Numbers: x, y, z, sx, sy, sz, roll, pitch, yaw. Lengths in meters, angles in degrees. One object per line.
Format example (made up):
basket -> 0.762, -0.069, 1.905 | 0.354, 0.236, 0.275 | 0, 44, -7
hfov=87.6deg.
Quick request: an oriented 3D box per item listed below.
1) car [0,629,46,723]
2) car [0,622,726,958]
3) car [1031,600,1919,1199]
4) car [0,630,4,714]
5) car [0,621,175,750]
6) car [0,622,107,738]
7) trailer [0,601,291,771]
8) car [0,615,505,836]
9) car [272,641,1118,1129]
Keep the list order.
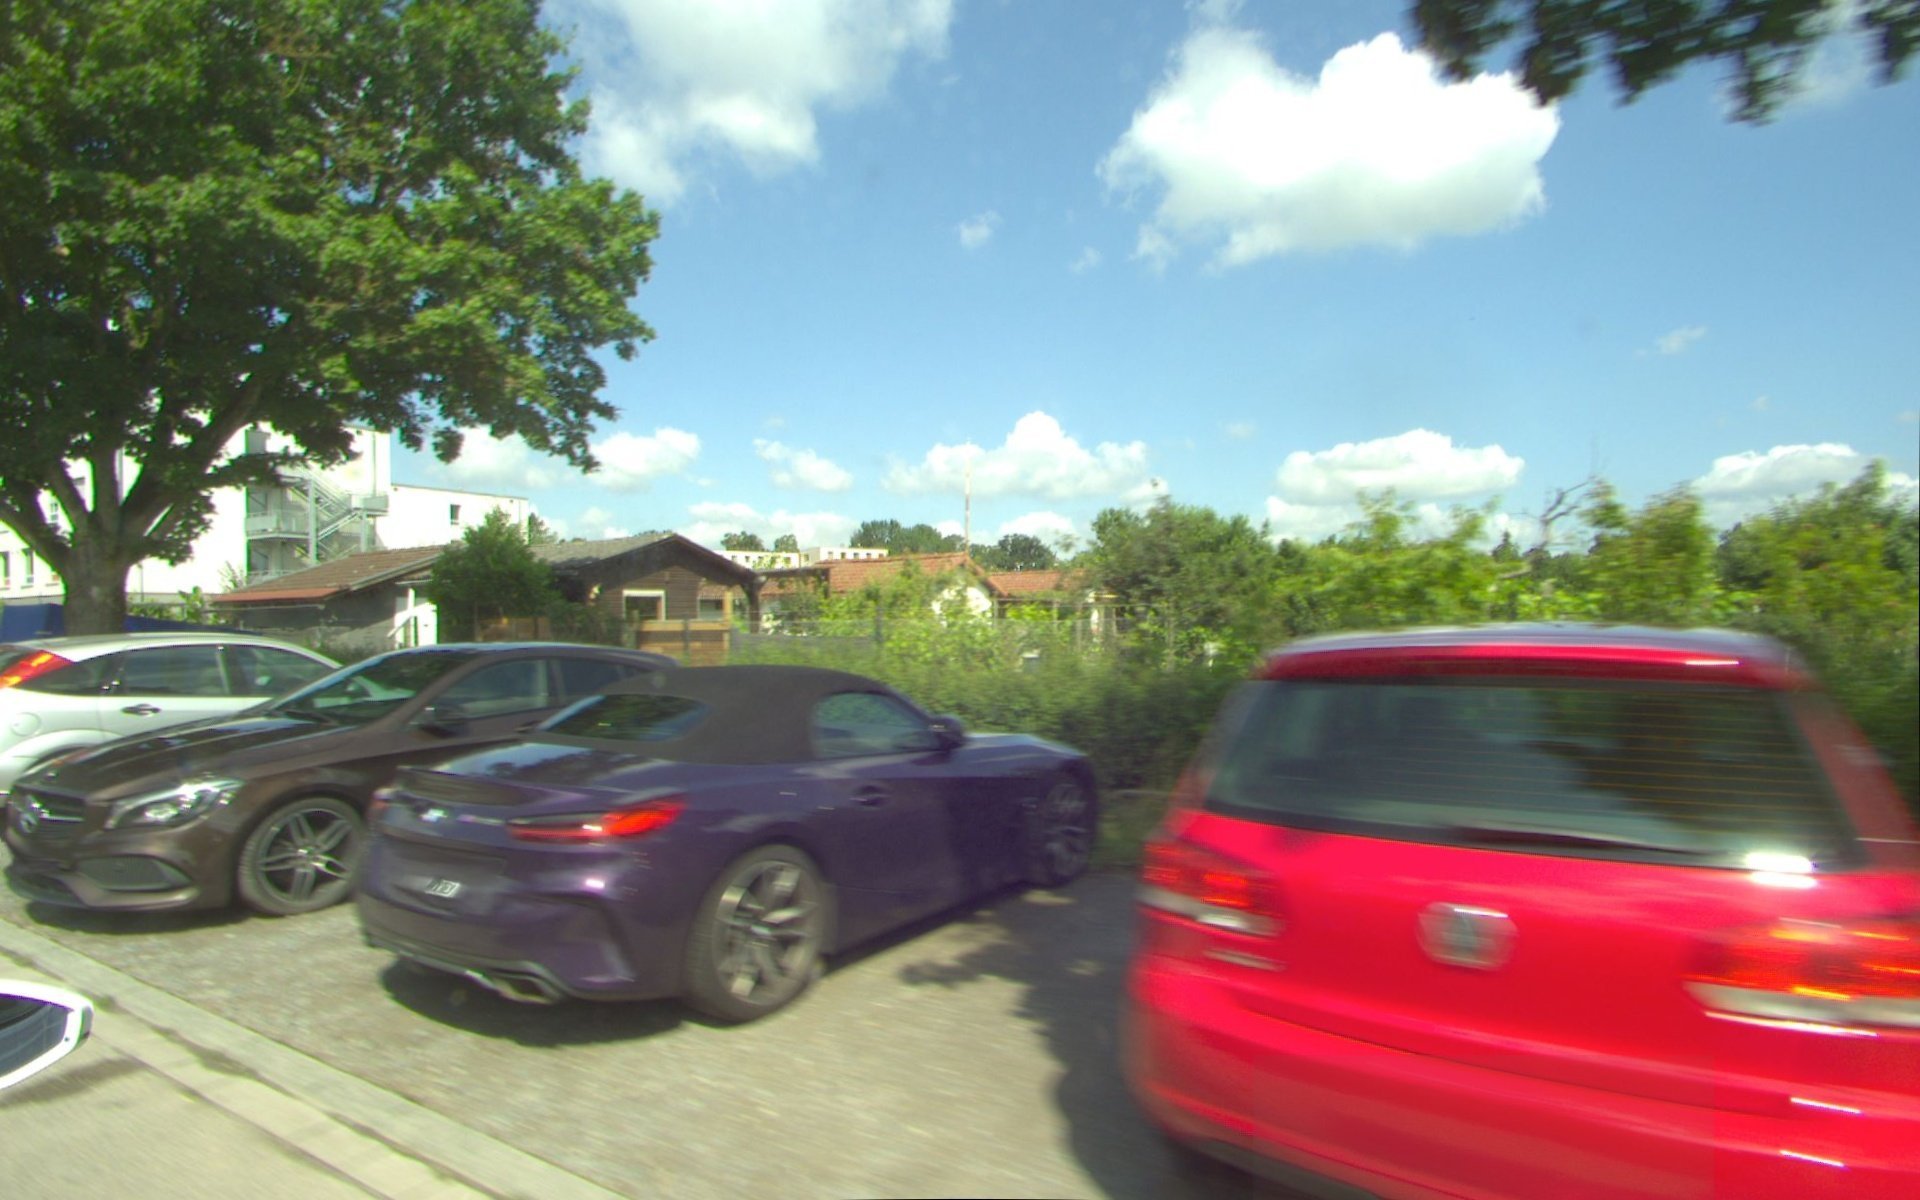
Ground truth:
car -> -16.961, 1.186, 15.472 | 1.875, 1.510, 3.808 | -1, -3, 31
car -> -3.658, 0.937, 6.647 | 1.842, 1.473, 4.062 | -1, -3, 30
car -> 2.041, 0.859, 3.341 | 1.830, 1.538, 3.977 | -1, -3, 35
car -> -19.240, 1.237, 16.753 | 1.947, 1.510, 4.330 | -1, -3, 31
car -> -12.427, 1.047, 12.496 | 1.822, 1.559, 3.722 | -1, -3, 29
car -> -14.710, 1.104, 13.644 | 1.971, 1.614, 4.297 | -1, -3, 31
trailer -> -9.562, 0.936, 11.718 | 1.495, 1.742, 2.449 | 0, -2, 28
car -> -6.472, 0.954, 8.855 | 1.931, 1.530, 4.055 | -1, -3, 35
car -> -0.913, 0.943, 5.149 | 1.932, 1.441, 3.901 | -1, -3, 35
